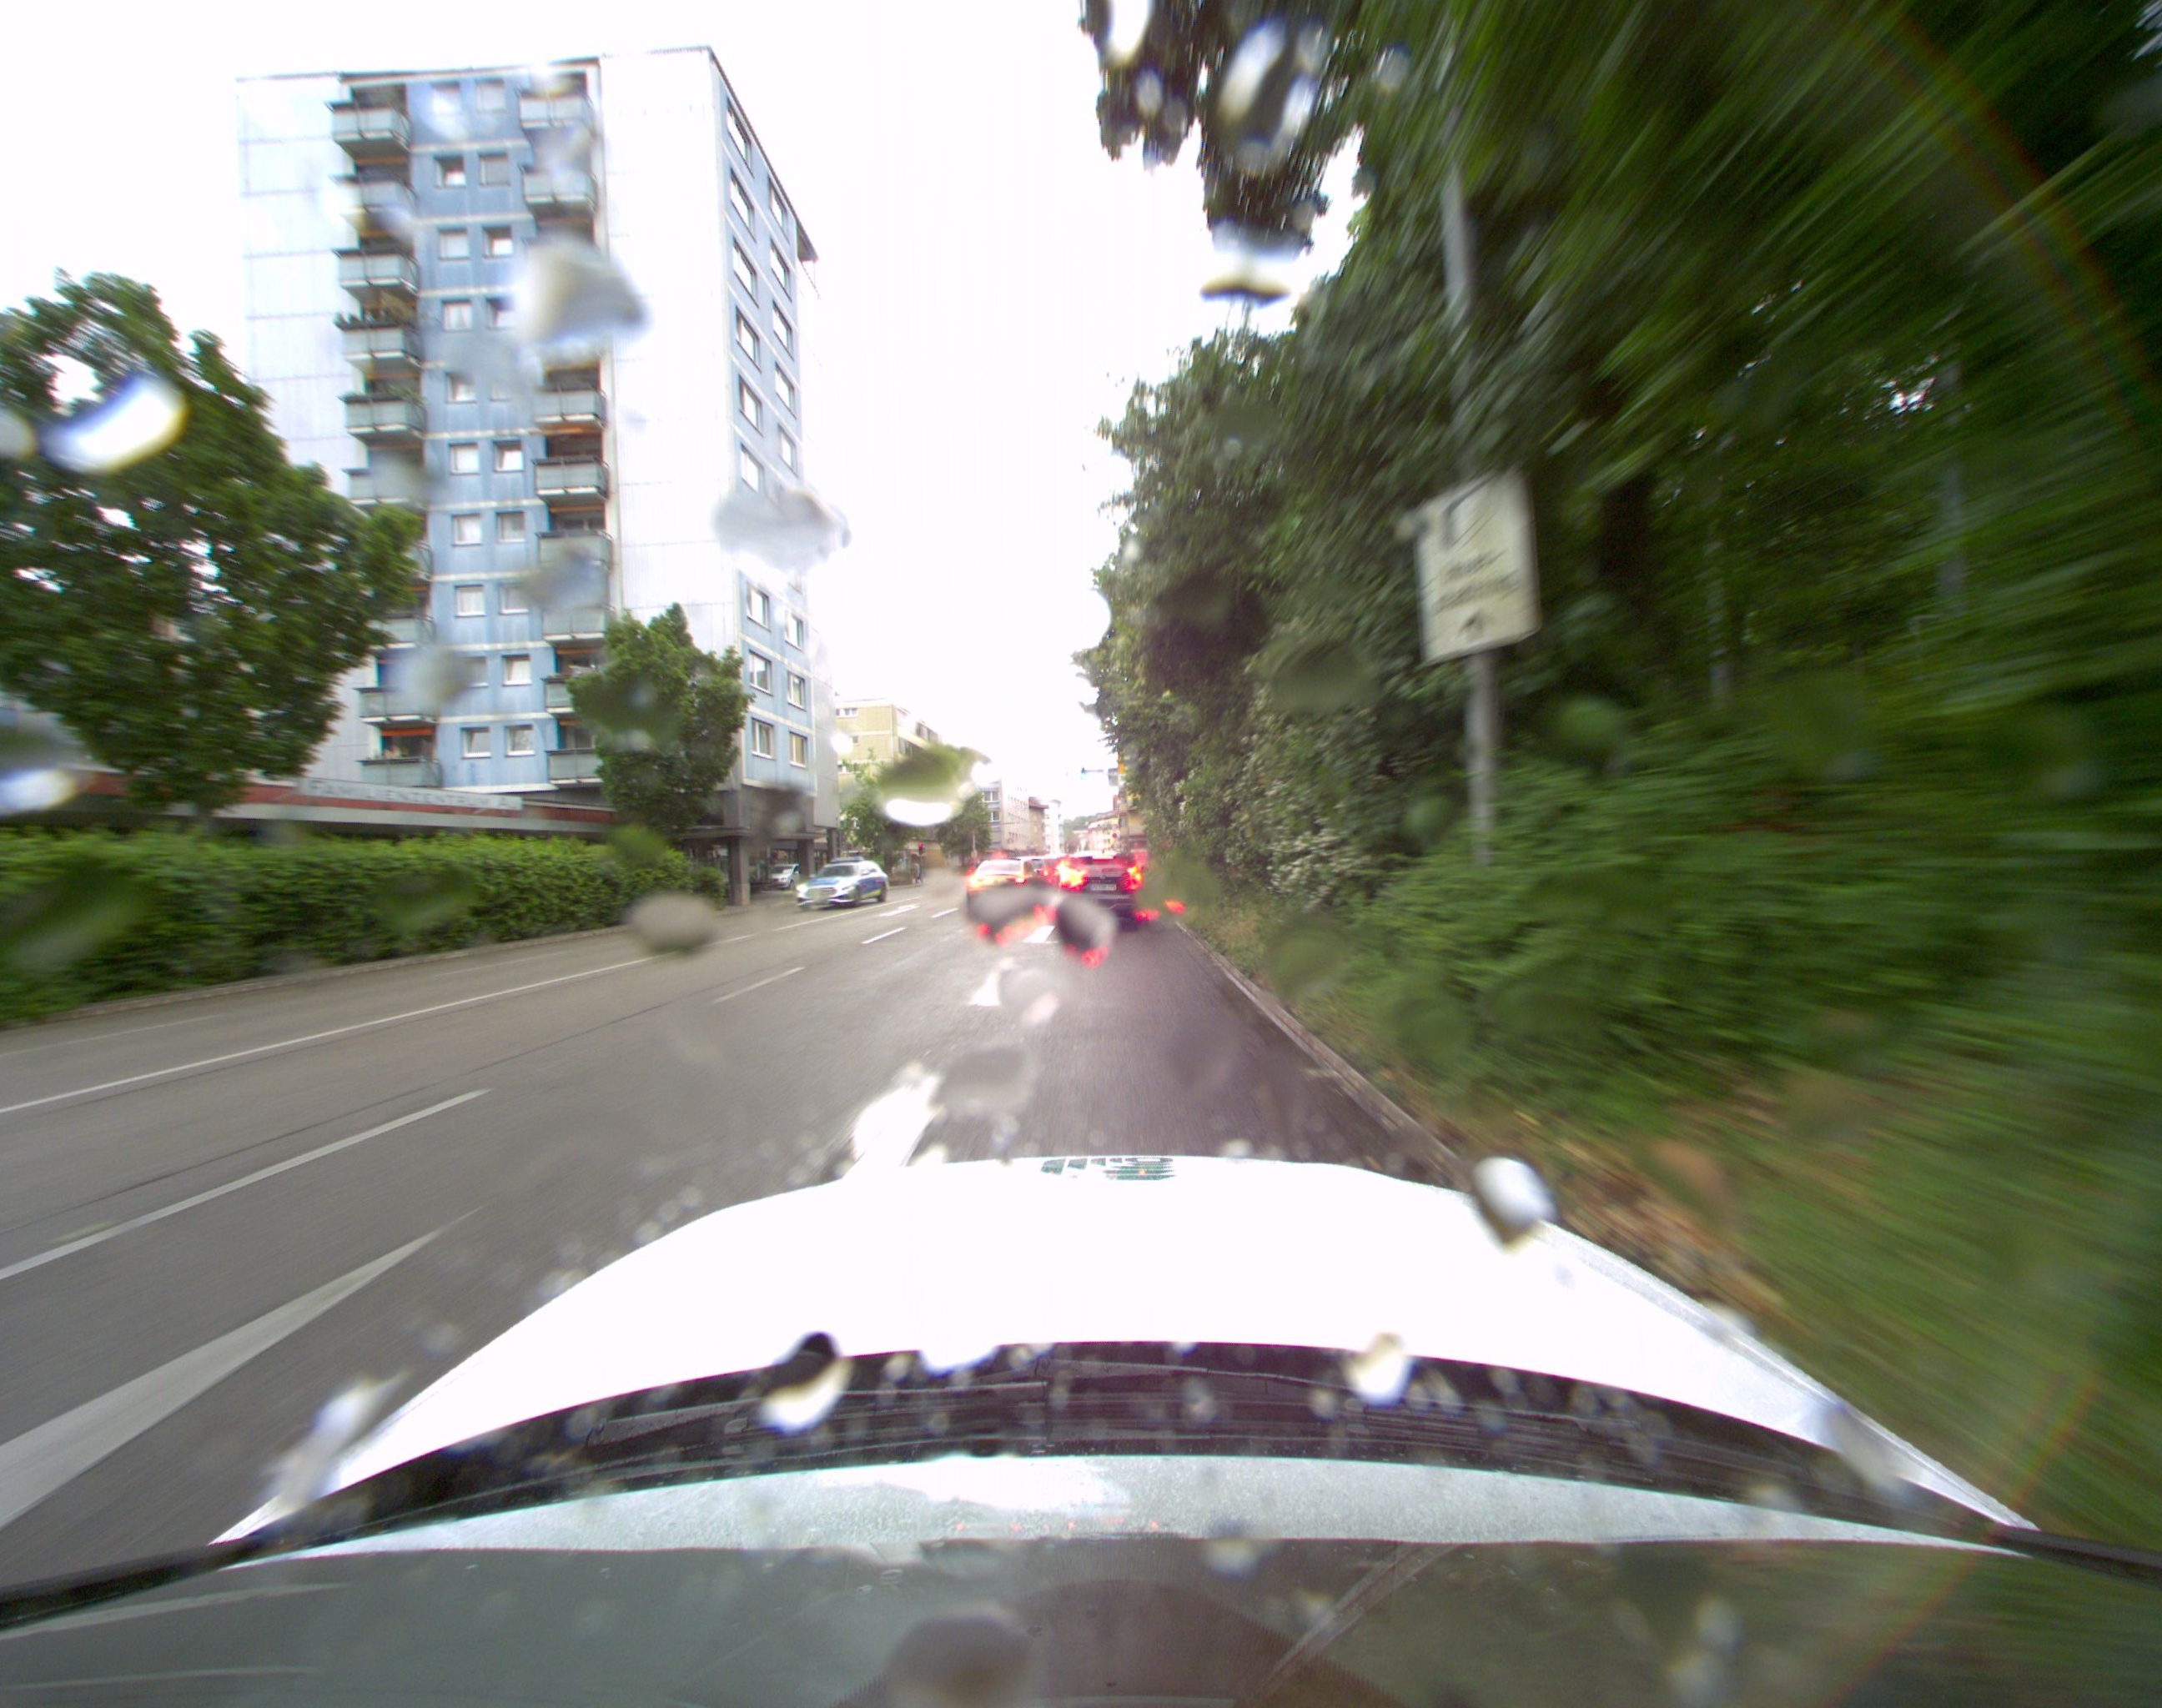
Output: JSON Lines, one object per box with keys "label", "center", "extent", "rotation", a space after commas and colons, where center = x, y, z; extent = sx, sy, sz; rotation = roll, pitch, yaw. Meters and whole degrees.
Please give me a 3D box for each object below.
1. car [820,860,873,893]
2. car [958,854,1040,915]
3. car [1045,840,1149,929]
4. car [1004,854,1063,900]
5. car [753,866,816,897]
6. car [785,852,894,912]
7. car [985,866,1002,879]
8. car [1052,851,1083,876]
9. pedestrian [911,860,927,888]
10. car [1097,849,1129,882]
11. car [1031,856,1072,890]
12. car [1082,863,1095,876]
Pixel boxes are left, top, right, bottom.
{"label": "car", "center": [-13.138, 1.248, 45.864], "extent": [1.533, 1.706, 4.290], "rotation": [-2, 0, 2]}
{"label": "car", "center": [-2.296, 0.797, 23.375], "extent": [2.063, 1.464, 4.579], "rotation": [-3, 0, -5]}
{"label": "car", "center": [0.349, 0.591, 17.676], "extent": [1.953, 1.653, 4.001], "rotation": [-2, 0, 1]}
{"label": "car", "center": [-1.683, 0.814, 30.100], "extent": [1.737, 1.487, 4.163], "rotation": [-3, 0, 2]}
{"label": "car", "center": [-17.860, 1.633, 49.293], "extent": [1.986, 1.655, 4.512], "rotation": [-2, -1, 1]}
{"label": "car", "center": [-7.985, 0.858, 27.491], "extent": [1.986, 1.750, 4.810], "rotation": [-3, 0, 2]}
{"label": "car", "center": [-11.129, 2.331, 103.850], "extent": [1.667, 1.478, 3.608], "rotation": [-4, -1, 0]}
{"label": "car", "center": [-0.800, 0.565, 51.980], "extent": [1.761, 1.444, 4.001], "rotation": [-3, 0, 1]}
{"label": "pedestrian", "center": [-12.139, 1.514, 61.081], "extent": [0.939, 2.013, 0.884], "rotation": [-4, -1, -7]}
{"label": "car", "center": [2.161, 0.739, 54.236], "extent": [1.985, 2.013, 4.003], "rotation": [-3, 0, 3]}
{"label": "car", "center": [-1.289, 0.842, 37.318], "extent": [1.607, 1.420, 3.967], "rotation": [-2, 0, 1]}
{"label": "car", "center": [1.290, 2.754, 145.512], "extent": [1.985, 2.013, 4.004], "rotation": [-4, -1, 4]}
